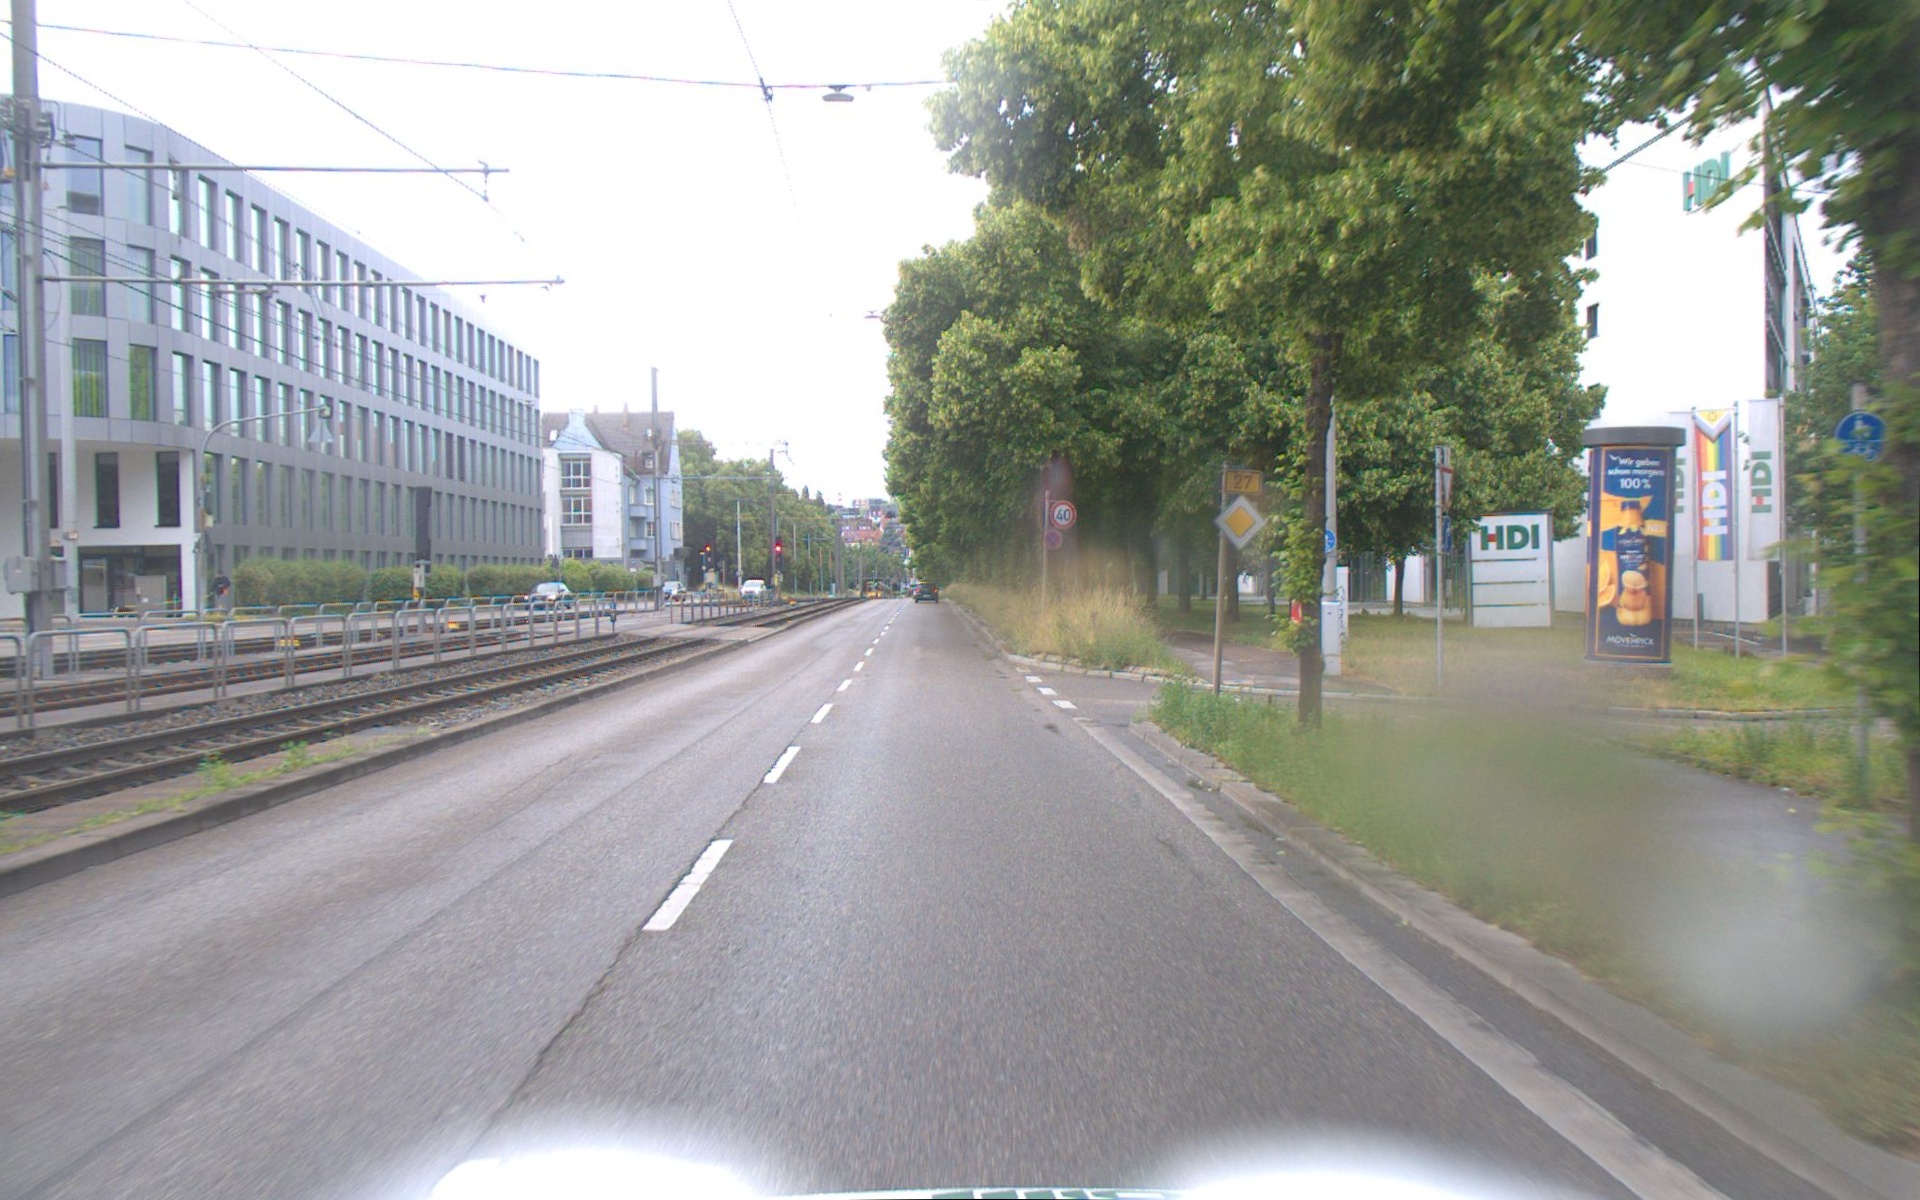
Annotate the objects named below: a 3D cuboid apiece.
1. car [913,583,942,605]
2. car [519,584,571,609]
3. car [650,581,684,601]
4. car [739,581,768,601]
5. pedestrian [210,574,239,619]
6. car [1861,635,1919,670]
[{"bbox_3d":[-2.285,-0.413,115.936,1.942,1.466,4.473,-1,0,-1],"label":"car"},{"bbox_3d":[-21.456,-0.180,85.577,1.721,1.265,3.987,-1,0,-1],"label":"car"},{"bbox_3d":[-21.215,-0.664,119.916,1.761,1.370,4.258,-1,0,-1],"label":"car"},{"bbox_3d":[-17.720,-0.791,142.009,1.863,1.673,4.884,-1,0,0],"label":"car"},{"bbox_3d":[-27.839,-0.124,62.598,0.709,1.676,0.845,0,0,-1],"label":"pedestrian"},{"bbox_3d":[49.479,2.726,86.486,3.905,1.747,2.000,0,0,21],"label":"car"}]
